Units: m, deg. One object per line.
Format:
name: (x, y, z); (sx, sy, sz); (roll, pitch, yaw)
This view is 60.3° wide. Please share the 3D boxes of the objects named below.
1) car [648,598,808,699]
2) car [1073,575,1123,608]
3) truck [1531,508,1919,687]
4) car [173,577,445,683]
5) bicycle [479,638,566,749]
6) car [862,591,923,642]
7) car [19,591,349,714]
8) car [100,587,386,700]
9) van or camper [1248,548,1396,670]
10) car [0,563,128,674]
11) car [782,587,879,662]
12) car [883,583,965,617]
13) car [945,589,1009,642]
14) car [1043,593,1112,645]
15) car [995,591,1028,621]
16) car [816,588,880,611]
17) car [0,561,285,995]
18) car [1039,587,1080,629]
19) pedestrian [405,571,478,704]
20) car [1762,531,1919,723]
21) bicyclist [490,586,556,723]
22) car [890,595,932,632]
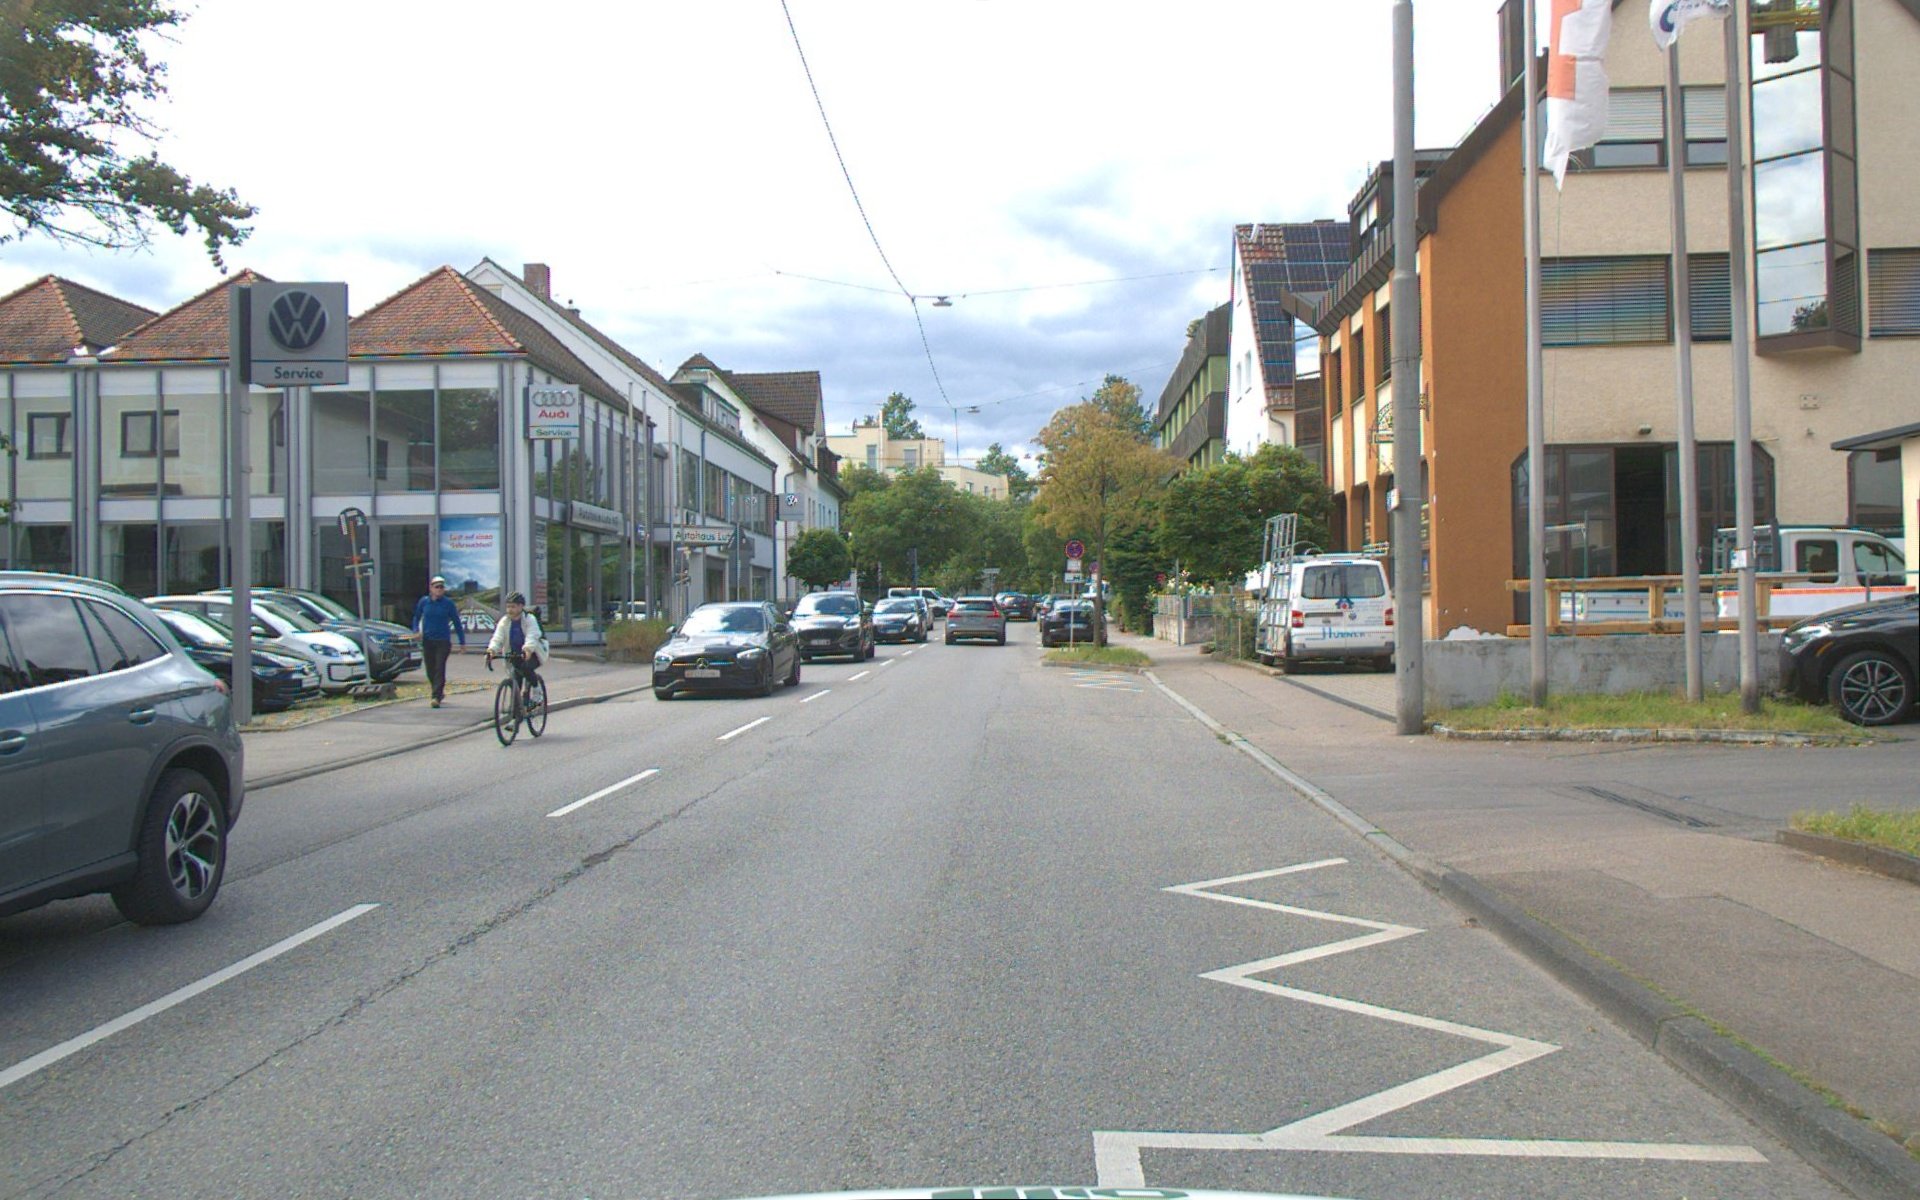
car: (-3.657, 0.727, 26.870); (1.704, 1.454, 4.525); (-2, 0, 3)
car: (11.260, -0.729, 134.602); (2.024, 2.394, 5.174); (-4, 0, 30)
truck: (11.412, -0.058, 24.713); (4.981, 2.500, 2.358); (0, 1, 2)
car: (-11.020, 0.490, 28.173); (3.930, 1.659, 1.654); (1, 0, 0)
bicycle: (-4.832, 1.006, 18.347); (0.445, 1.106, 1.869); (-2, 0, -1)
car: (-2.161, 0.552, 53.833); (1.794, 1.550, 4.170); (-1, -1, 0)
car: (-10.526, 0.685, 22.613); (3.662, 1.545, 1.729); (-1, 0, 0)
car: (-10.927, 0.644, 25.348); (3.662, 1.587, 1.535); (1, 0, 0)
van or camper: (6.540, 0.192, 30.362); (1.828, 2.067, 4.548); (0, -1, 1)
car: (-15.250, 0.244, 26.242); (1.769, 1.612, 4.329); (2, 1, 2)
car: (-3.032, 0.543, 39.483); (1.793, 1.658, 4.322); (-1, 0, 2)
car: (-2.448, -0.023, 113.356); (5.103, 2.028, 2.109); (-3, 0, 19)
car: (0.575, 0.529, 52.186); (1.915, 1.550, 4.329); (0, -2, 1)
car: (3.554, 0.576, 50.653); (1.943, 1.473, 4.753); (-1, -1, 2)
car: (2.744, 0.335, 88.458); (1.581, 1.550, 3.569); (-1, -1, 0)
car: (-7.532, -0.013, 111.613); (3.931, 1.438, 1.817); (0, -1, 15)
car: (-4.569, 0.703, 6.440); (1.827, 1.646, 4.536); (-2, 1, 2)
car: (4.223, 0.346, 69.894); (1.654, 1.695, 4.464); (-1, -1, 4)
pedestrian: (-7.021, 0.504, 22.432); (0.668, 1.767, 0.868); (0, -1, 2)
car: (9.584, 0.149, 14.553); (4.236, 1.658, 1.628); (-4, 0, 38)
bicyclist: (-4.869, 0.589, 18.472); (0.459, 1.474, 0.864); (-2, 0, -1)
car: (-2.176, 0.621, 74.154); (1.655, 1.607, 3.800); (-1, -1, 1)
